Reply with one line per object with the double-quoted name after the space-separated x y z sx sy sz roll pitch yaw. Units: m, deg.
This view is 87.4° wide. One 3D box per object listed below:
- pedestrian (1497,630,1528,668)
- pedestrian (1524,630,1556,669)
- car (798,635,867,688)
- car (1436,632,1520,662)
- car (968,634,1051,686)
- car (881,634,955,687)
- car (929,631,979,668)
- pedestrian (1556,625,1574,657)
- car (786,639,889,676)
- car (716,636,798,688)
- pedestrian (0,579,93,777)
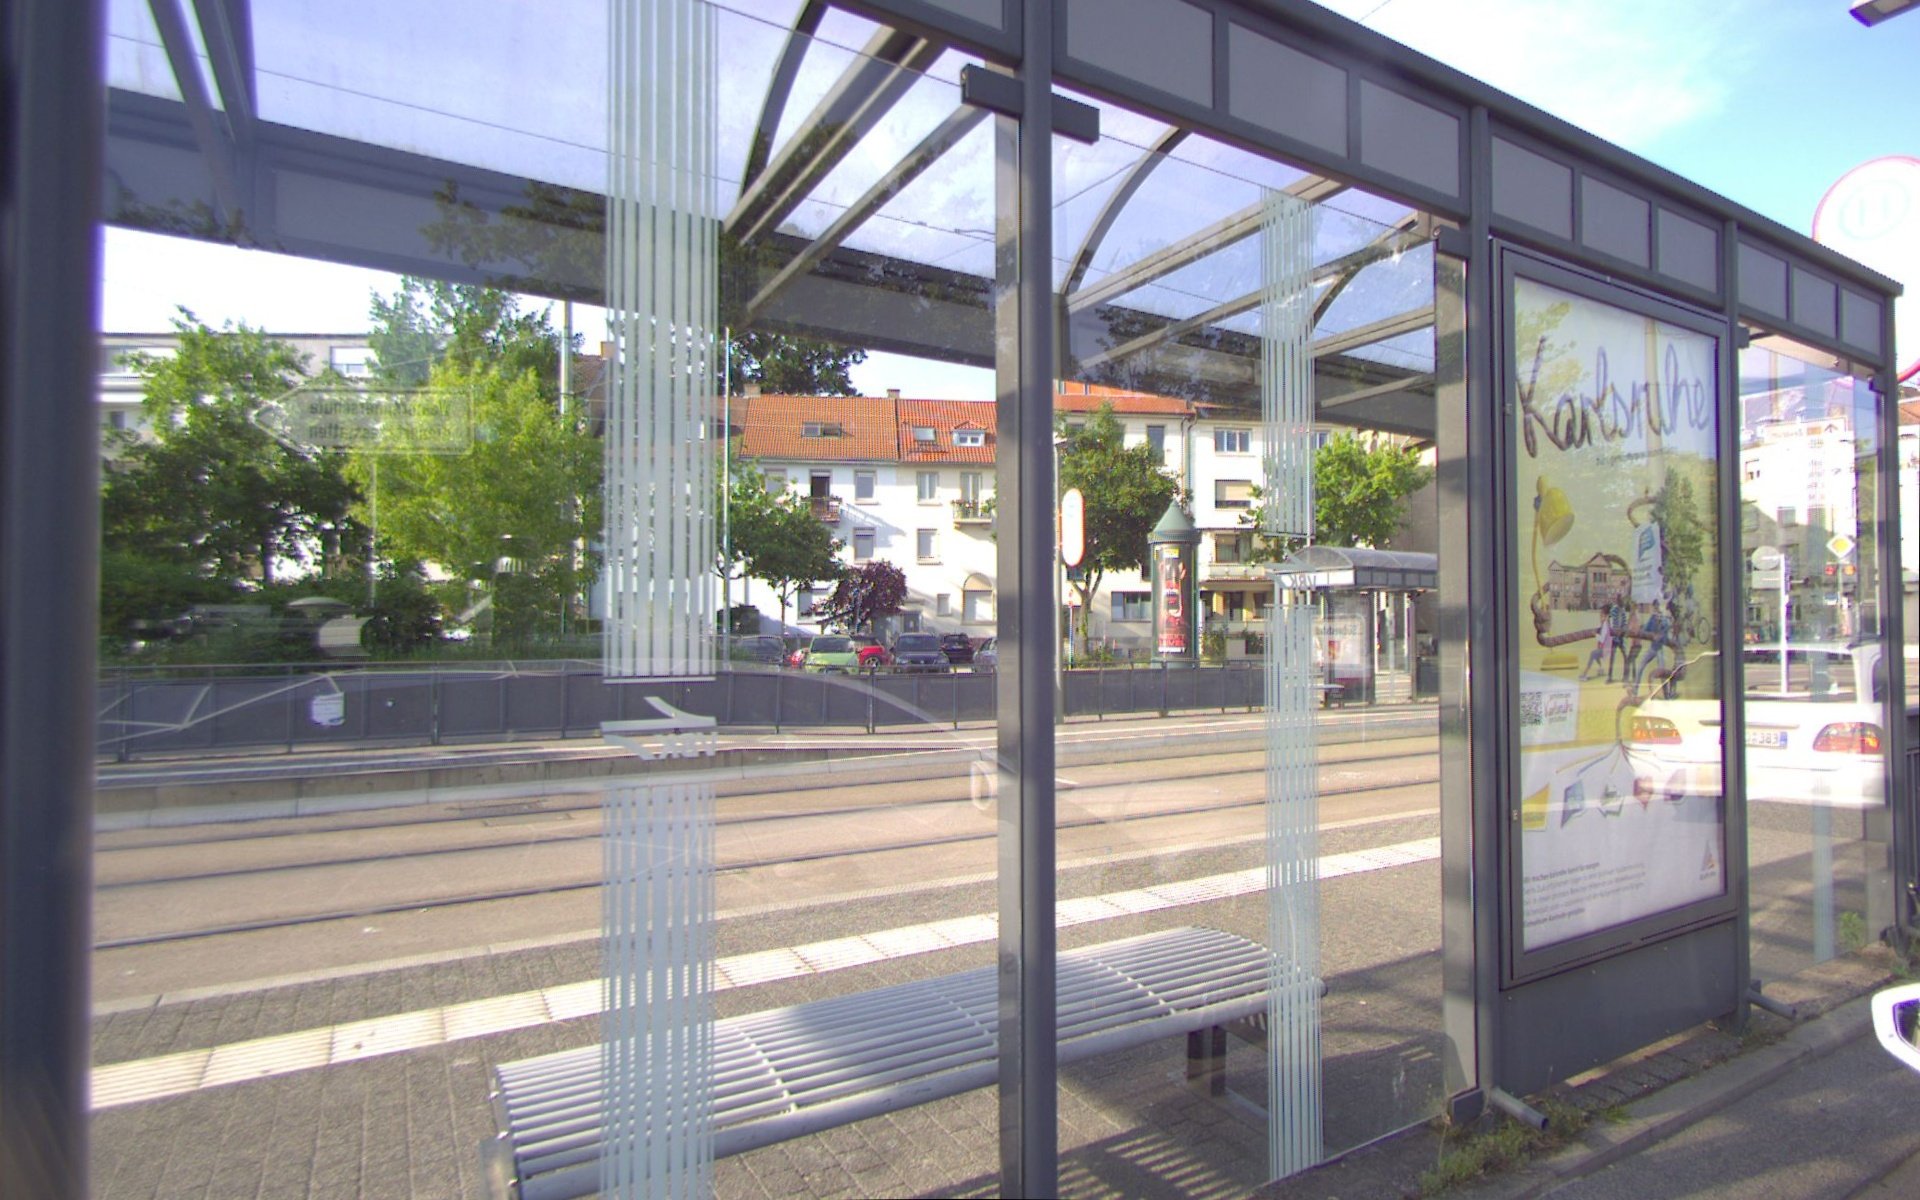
22.931 2.042 41.726 0.768 1.572 0.831 0 -2 -8 "pedestrian"
23.603 2.001 40.891 0.768 1.572 0.831 0 -2 -8 "pedestrian"
-3.829 1.830 30.714 1.813 1.505 3.999 0 -2 -3 "car"
26.084 2.340 50.728 1.732 1.327 4.111 2 0 -8 "car"
1.459 1.829 31.303 1.815 1.505 3.995 0 -2 -9 "car"
-1.356 1.805 30.749 1.815 1.505 3.995 0 -2 -9 "car"
-0.331 2.316 47.674 1.963 1.684 3.997 0 -2 -6 "car"
28.736 1.939 47.714 0.540 1.520 0.437 0 -2 -15 "pedestrian"
-4.847 2.252 39.683 3.927 1.416 1.836 0 -2 -9 "car"
-6.068 1.789 29.692 1.968 1.416 3.985 1 -2 -18 "car"
-8.403 0.697 8.965 0.867 1.706 0.551 1 -5 -30 "pedestrian"
